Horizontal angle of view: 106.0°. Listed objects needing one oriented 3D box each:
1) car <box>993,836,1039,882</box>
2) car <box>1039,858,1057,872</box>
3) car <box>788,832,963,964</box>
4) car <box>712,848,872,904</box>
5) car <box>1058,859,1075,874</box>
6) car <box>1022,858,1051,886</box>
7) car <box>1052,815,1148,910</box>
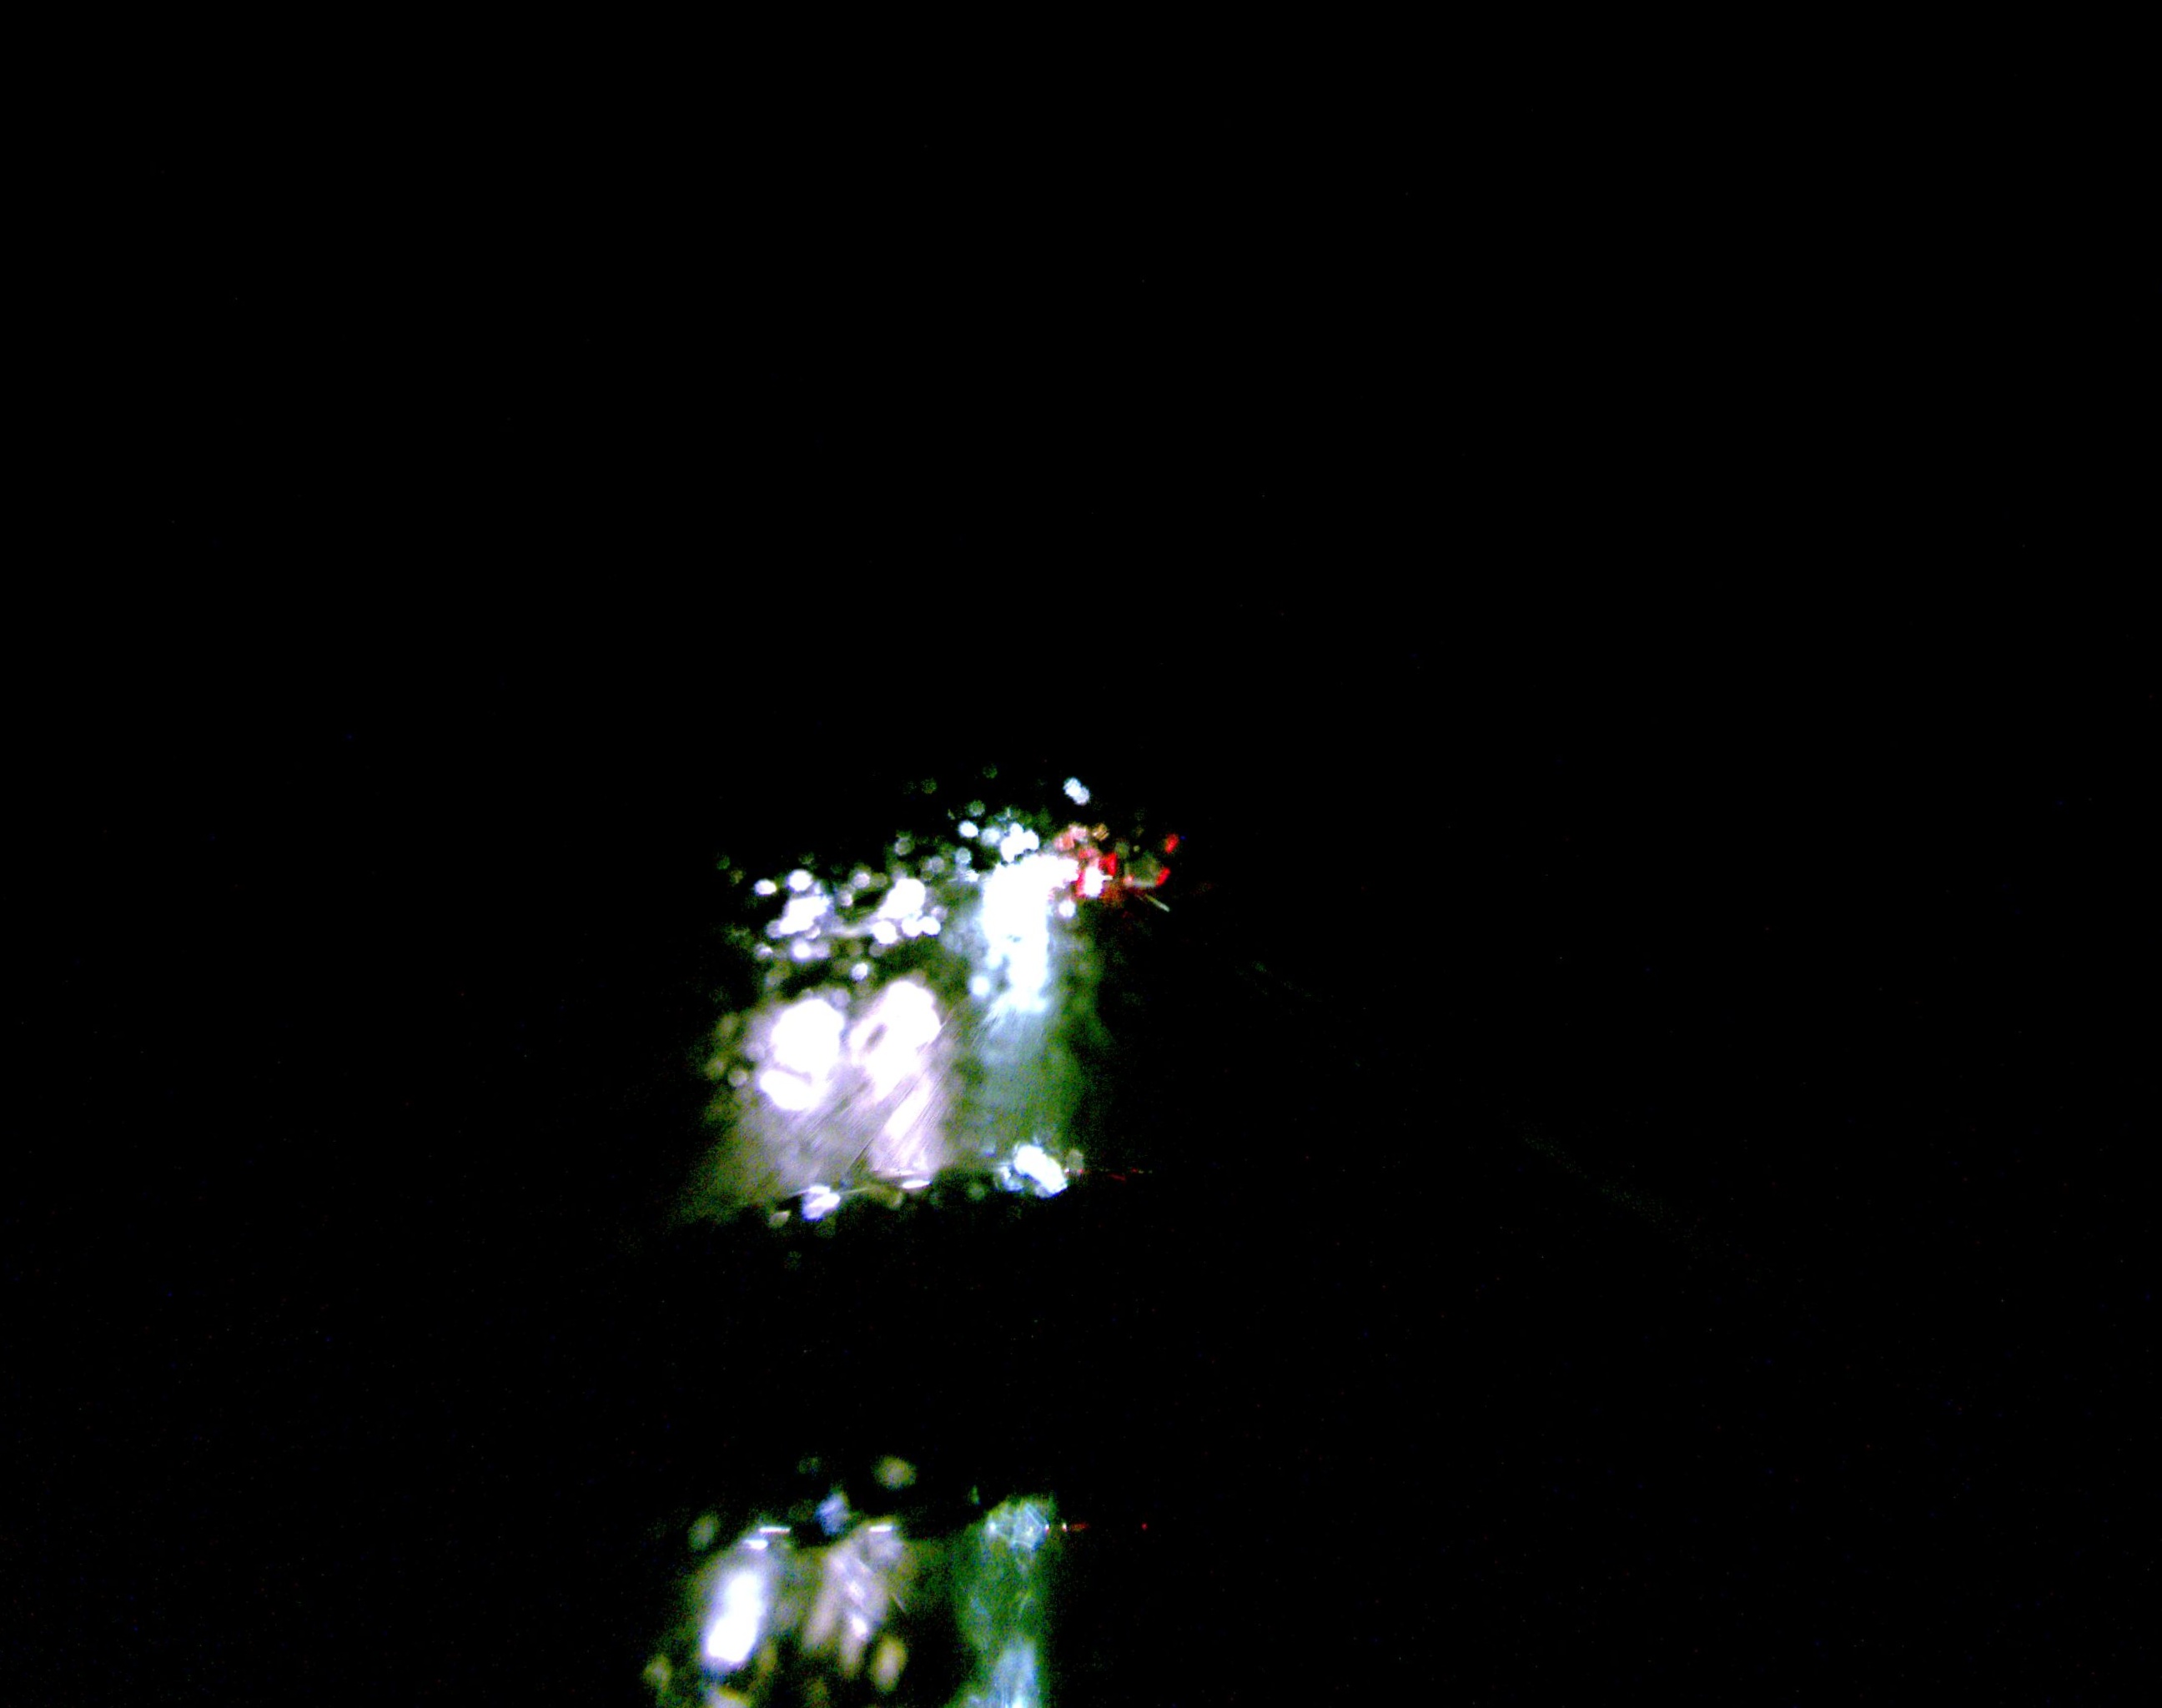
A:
[{"bbox_3d":[-3.106,0.262,39.780,1.988,2.067,3.997,1,-1,-2],"label":"car"},{"bbox_3d":[-3.696,1.218,91.674,1.654,1.481,3.586,1,-1,2],"label":"car"},{"bbox_3d":[-3.034,0.565,12.876,1.748,1.734,3.999,1,1,-1],"label":"car"},{"bbox_3d":[-10.135,0.737,28.849,4.899,1.734,1.998,-2,0,-2],"label":"car"},{"bbox_3d":[-1.535,1.312,86.400,1.654,1.481,3.586,1,-1,2],"label":"car"},{"bbox_3d":[-3.140,1.304,58.466,1.886,1.910,3.793,1,-1,-1],"label":"car"},{"bbox_3d":[0.538,0.227,25.108,2.530,2.498,5.714,-2,0,0],"label":"car"}]
